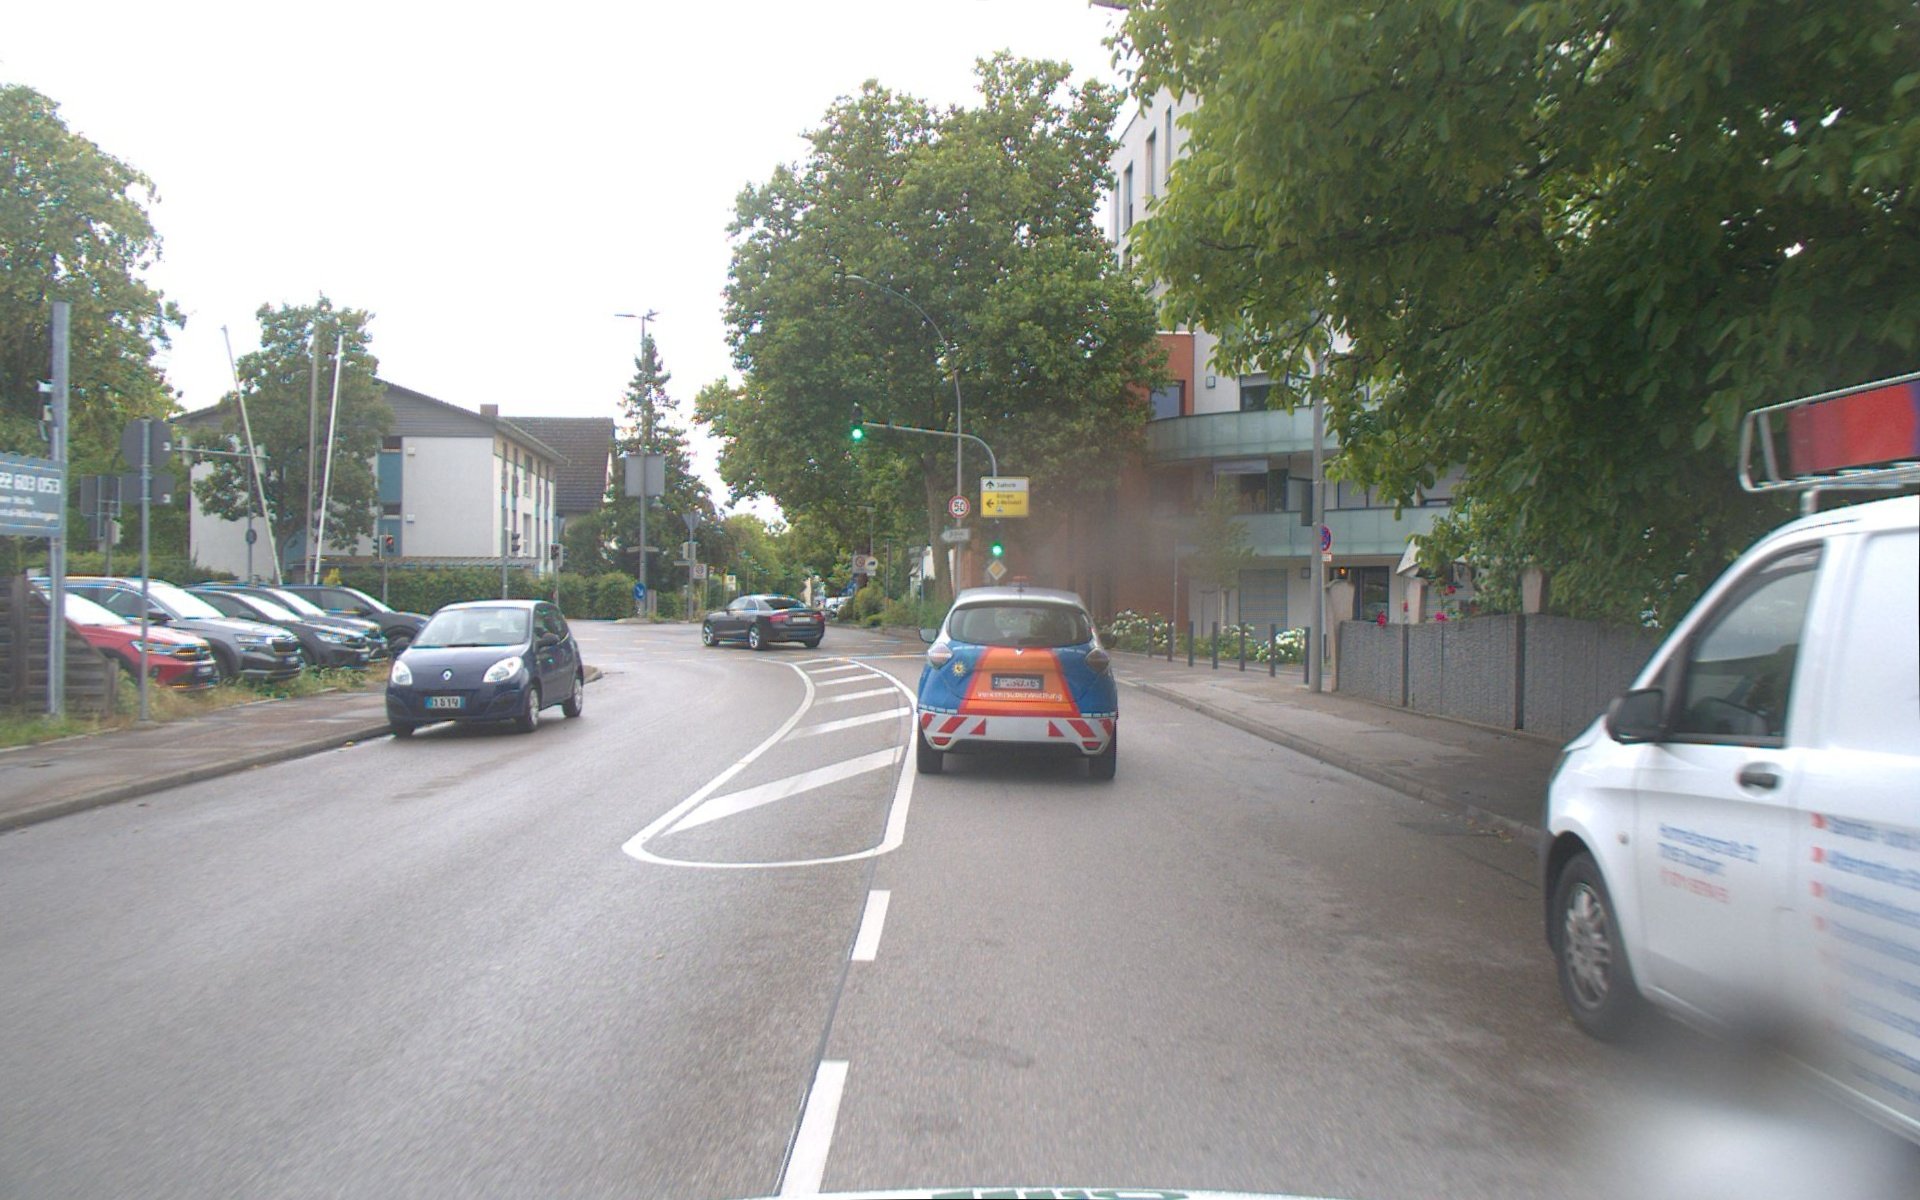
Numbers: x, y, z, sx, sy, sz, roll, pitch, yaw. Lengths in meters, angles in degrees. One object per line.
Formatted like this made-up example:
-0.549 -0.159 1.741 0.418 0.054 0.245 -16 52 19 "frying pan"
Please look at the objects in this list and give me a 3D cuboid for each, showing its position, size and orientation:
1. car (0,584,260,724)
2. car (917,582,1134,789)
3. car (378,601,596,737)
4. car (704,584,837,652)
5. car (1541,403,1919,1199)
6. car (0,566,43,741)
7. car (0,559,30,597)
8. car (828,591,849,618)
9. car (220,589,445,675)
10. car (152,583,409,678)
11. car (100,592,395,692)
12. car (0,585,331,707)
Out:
-10.947 0.619 20.304 3.905 1.571 1.803 1 0 -1 "car"
0.492 0.656 15.084 1.710 1.608 4.000 0 1 -1 "car"
-5.535 0.750 19.774 1.593 1.458 3.683 0 0 -1 "car"
-5.035 0.444 43.631 1.975 1.601 3.956 1 1 -32 "car"
3.129 0.585 3.972 1.741 2.064 4.754 1 1 0 "car"
-11.562 0.514 15.990 4.260 1.720 1.958 0 0 -2 "car"
-46.156 -1.055 77.542 1.959 1.753 3.987 2 1 34 "car"
-9.730 0.327 132.619 1.611 2.052 3.711 1 1 -5 "car"
-12.225 0.611 32.446 3.878 1.557 1.617 1 1 -13 "car"
-12.121 0.528 29.678 3.867 1.557 1.691 1 1 -3 "car"
-11.354 0.646 26.542 3.905 1.466 1.803 1 0 -1 "car"
-11.147 0.615 23.236 3.905 1.571 1.803 1 0 -1 "car"
